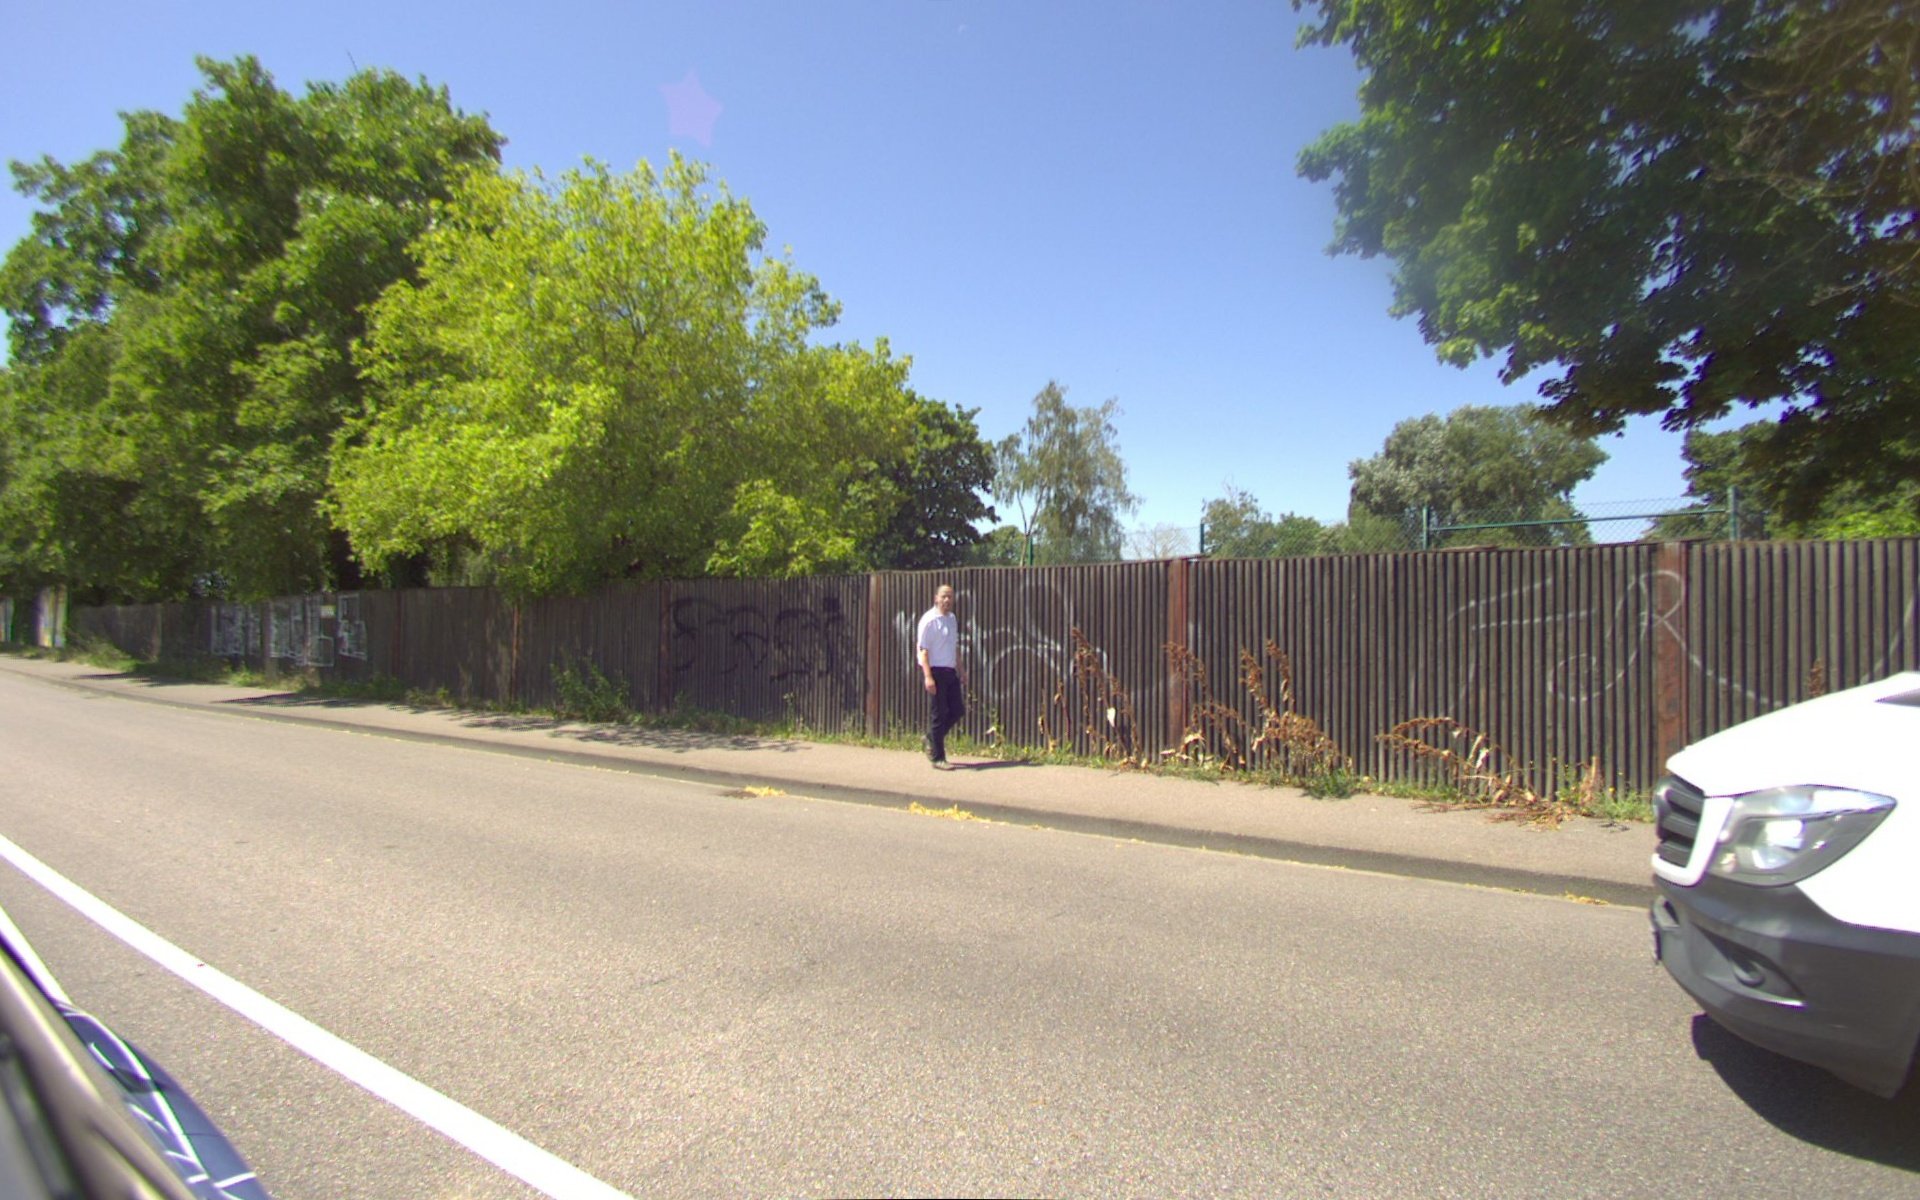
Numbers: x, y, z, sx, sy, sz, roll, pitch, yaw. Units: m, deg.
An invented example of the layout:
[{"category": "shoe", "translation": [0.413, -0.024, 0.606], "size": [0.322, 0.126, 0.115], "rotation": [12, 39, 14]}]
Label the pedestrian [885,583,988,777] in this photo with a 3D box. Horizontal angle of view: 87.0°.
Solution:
[{"category": "pedestrian", "translation": [-0.236, 0.766, 10.121], "size": [0.850, 1.838, 0.586], "rotation": [-1, -1, 41]}]

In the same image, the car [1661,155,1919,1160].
[{"category": "car", "translation": [5.399, 0.124, 1.750], "size": [6.811, 2.558, 2.003], "rotation": [-1, -2, 35]}]
